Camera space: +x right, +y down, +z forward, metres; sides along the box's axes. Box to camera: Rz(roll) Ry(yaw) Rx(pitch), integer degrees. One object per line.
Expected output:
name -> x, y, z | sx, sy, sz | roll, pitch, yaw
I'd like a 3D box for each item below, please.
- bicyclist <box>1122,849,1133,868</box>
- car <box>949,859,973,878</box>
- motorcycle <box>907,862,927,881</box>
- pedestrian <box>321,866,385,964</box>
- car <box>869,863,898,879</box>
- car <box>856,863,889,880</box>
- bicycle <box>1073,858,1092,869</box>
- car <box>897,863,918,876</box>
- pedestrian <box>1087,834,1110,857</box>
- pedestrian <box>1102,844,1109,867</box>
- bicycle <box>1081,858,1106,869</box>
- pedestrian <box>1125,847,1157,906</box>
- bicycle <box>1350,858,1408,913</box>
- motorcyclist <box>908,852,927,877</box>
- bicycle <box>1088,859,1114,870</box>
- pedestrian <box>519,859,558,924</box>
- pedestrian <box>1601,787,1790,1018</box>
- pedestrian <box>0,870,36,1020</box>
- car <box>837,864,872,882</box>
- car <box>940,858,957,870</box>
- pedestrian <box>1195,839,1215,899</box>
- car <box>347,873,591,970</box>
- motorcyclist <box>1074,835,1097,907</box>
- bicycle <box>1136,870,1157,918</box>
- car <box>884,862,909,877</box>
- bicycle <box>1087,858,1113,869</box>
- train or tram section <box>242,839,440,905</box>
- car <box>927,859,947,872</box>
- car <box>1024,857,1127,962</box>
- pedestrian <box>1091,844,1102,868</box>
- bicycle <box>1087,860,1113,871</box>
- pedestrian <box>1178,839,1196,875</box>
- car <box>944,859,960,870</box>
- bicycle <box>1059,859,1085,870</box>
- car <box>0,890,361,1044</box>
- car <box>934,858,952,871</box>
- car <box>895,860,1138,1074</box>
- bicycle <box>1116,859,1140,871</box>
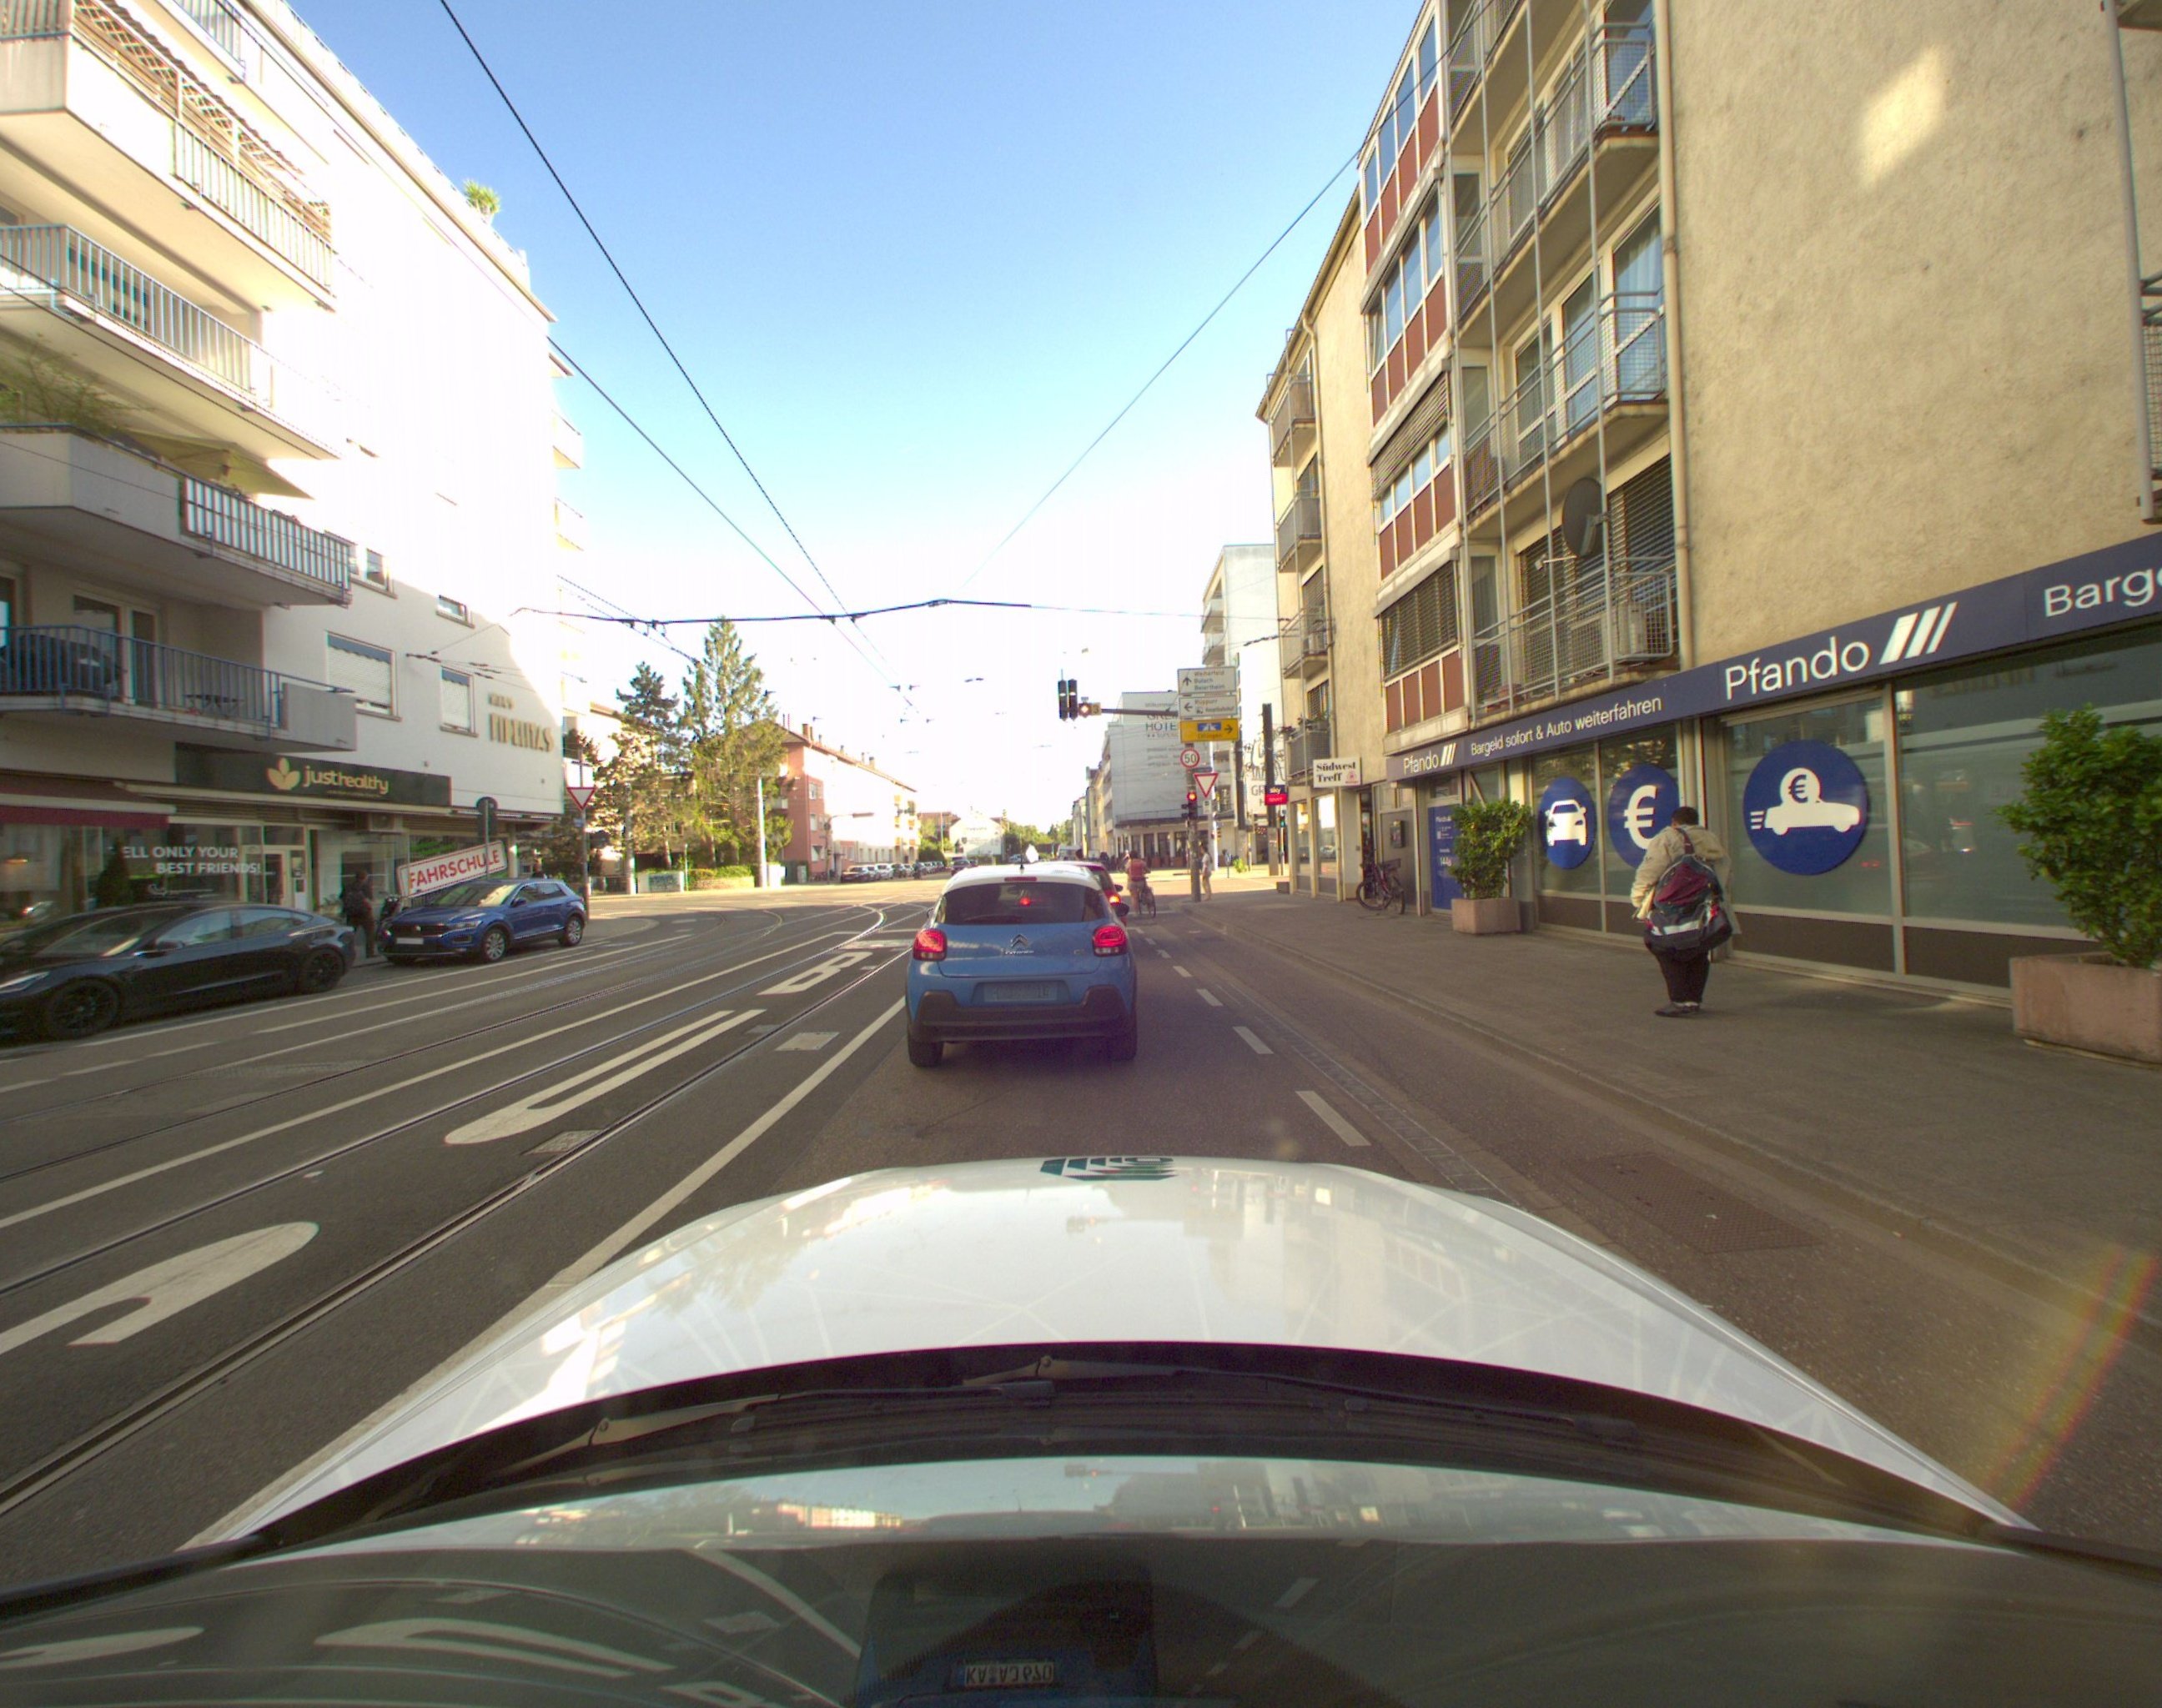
bicyclist -> 3.519, 0.347, 61.625 | 0.739, 1.477, 0.565 | -1, -1, 21
car -> -11.291, 1.348, 76.844 | 1.770, 1.666, 3.854 | 0, -1, -2
motorcycle -> -13.583, 1.422, 67.447 | 0.921, 1.486, 3.724 | 0, -1, -1
pedestrian -> -13.760, 1.129, 15.404 | 0.569, 1.805, 0.699 | 0, -1, 1
car -> -19.388, 1.612, 79.977 | 1.781, 1.511, 4.150 | 0, -1, 1
car -> -19.201, 1.611, 75.057 | 1.808, 1.498, 4.302 | 0, -1, 2
bicycle -> 0.137, 0.824, 69.580 | 1.765, 0.901, 0.369 | -1, -1, 36
car -> -19.756, 1.733, 92.817 | 1.728, 1.498, 3.996 | 0, -1, -2
pedestrian -> 1.626, -0.727, 73.695 | 1.986, 2.014, 4.001 | 0, -1, 2
pedestrian -> 2.081, 0.147, 70.344 | 0.575, 2.014, 0.625 | 0, -1, -1
bicycle -> 1.051, 0.820, 68.450 | 2.130, 0.901, 0.366 | 0, -1, -7
pedestrian -> 1.488, 0.558, 20.348 | 0.774, 1.460, 0.682 | 0, -1, 1
bicycle -> 5.714, 0.574, 15.694 | 0.540, 0.998, 1.706 | 0, -1, 2
motorcyclist -> -13.590, 0.883, 67.755 | 1.182, 2.013, 1.275 | -2, 0, -1
bicycle -> 1.642, 0.868, 67.345 | 2.130, 0.901, 0.366 | 0, -1, -7
pedestrian -> -17.284, 1.181, 25.947 | 0.767, 2.014, 0.694 | 0, -1, -4
pedestrian -> 4.505, 0.340, 6.029 | 0.822, 1.593, 0.751 | 0, -1, 1
pedestrian -> -13.511, 1.114, 9.916 | 0.596, 1.833, 0.734 | 0, -1, 1
car -> -19.251, 1.618, 69.447 | 1.787, 1.421, 3.996 | 0, -1, 1
car -> -19.072, 1.501, 117.310 | 1.828, 1.687, 3.998 | 0, -1, -1
pedestrian -> 3.695, 0.439, 24.294 | 0.515, 1.783, 0.595 | 0, -1, 0
car -> -11.945, 1.225, 16.309 | 1.864, 1.531, 4.068 | -2, 0, -2
motorcyclist -> 0.117, 0.402, 19.754 | 0.524, 1.716, 0.717 | 0, -1, 1
bicycle -> 1.652, 0.975, 20.611 | 0.426, 1.123, 1.999 | 0, -1, 2
car -> -19.599, 1.636, 86.711 | 1.781, 1.498, 3.998 | 0, -1, -1
bicycle -> 1.548, 0.772, 66.011 | 2.130, 0.901, 0.366 | 0, -1, -7
train or tram section -> -43.276, 1.077, 47.520 | 12.483, 3.594, 3.088 | -1, 0, 20
car -> -18.927, 1.515, 107.161 | 1.978, 1.687, 3.998 | 0, -1, -1
car -> -0.035, 0.815, 13.211 | 1.419, 1.467, 2.925 | -2, -1, 2
pedestrian -> 1.334, 0.198, 69.274 | 0.635, 2.014, 0.717 | 0, -1, -34
bicycle -> 1.594, 0.956, 67.752 | 2.130, 0.901, 0.366 | 0, -1, -7
pedestrian -> 6.111, 0.171, 46.879 | 0.922, 2.014, 0.760 | 0, -1, 1
car -> -19.270, 1.548, 121.720 | 1.841, 1.687, 3.872 | 0, -1, -1
bicycle -> -0.717, 0.878, 66.432 | 2.130, 0.901, 0.366 | 0, -1, -7
car -> -12.063, 1.287, 10.411 | 1.816, 1.387, 4.425 | -2, 0, -2
car -> -18.933, 1.449, 112.047 | 1.877, 1.687, 3.998 | 0, -1, -1
car -> -0.385, 0.783, 7.294 | 1.648, 1.444, 3.524 | 0, -1, 2
bicycle -> 3.557, 0.823, 61.671 | 1.837, 0.903, 0.352 | -1, -1, 21
